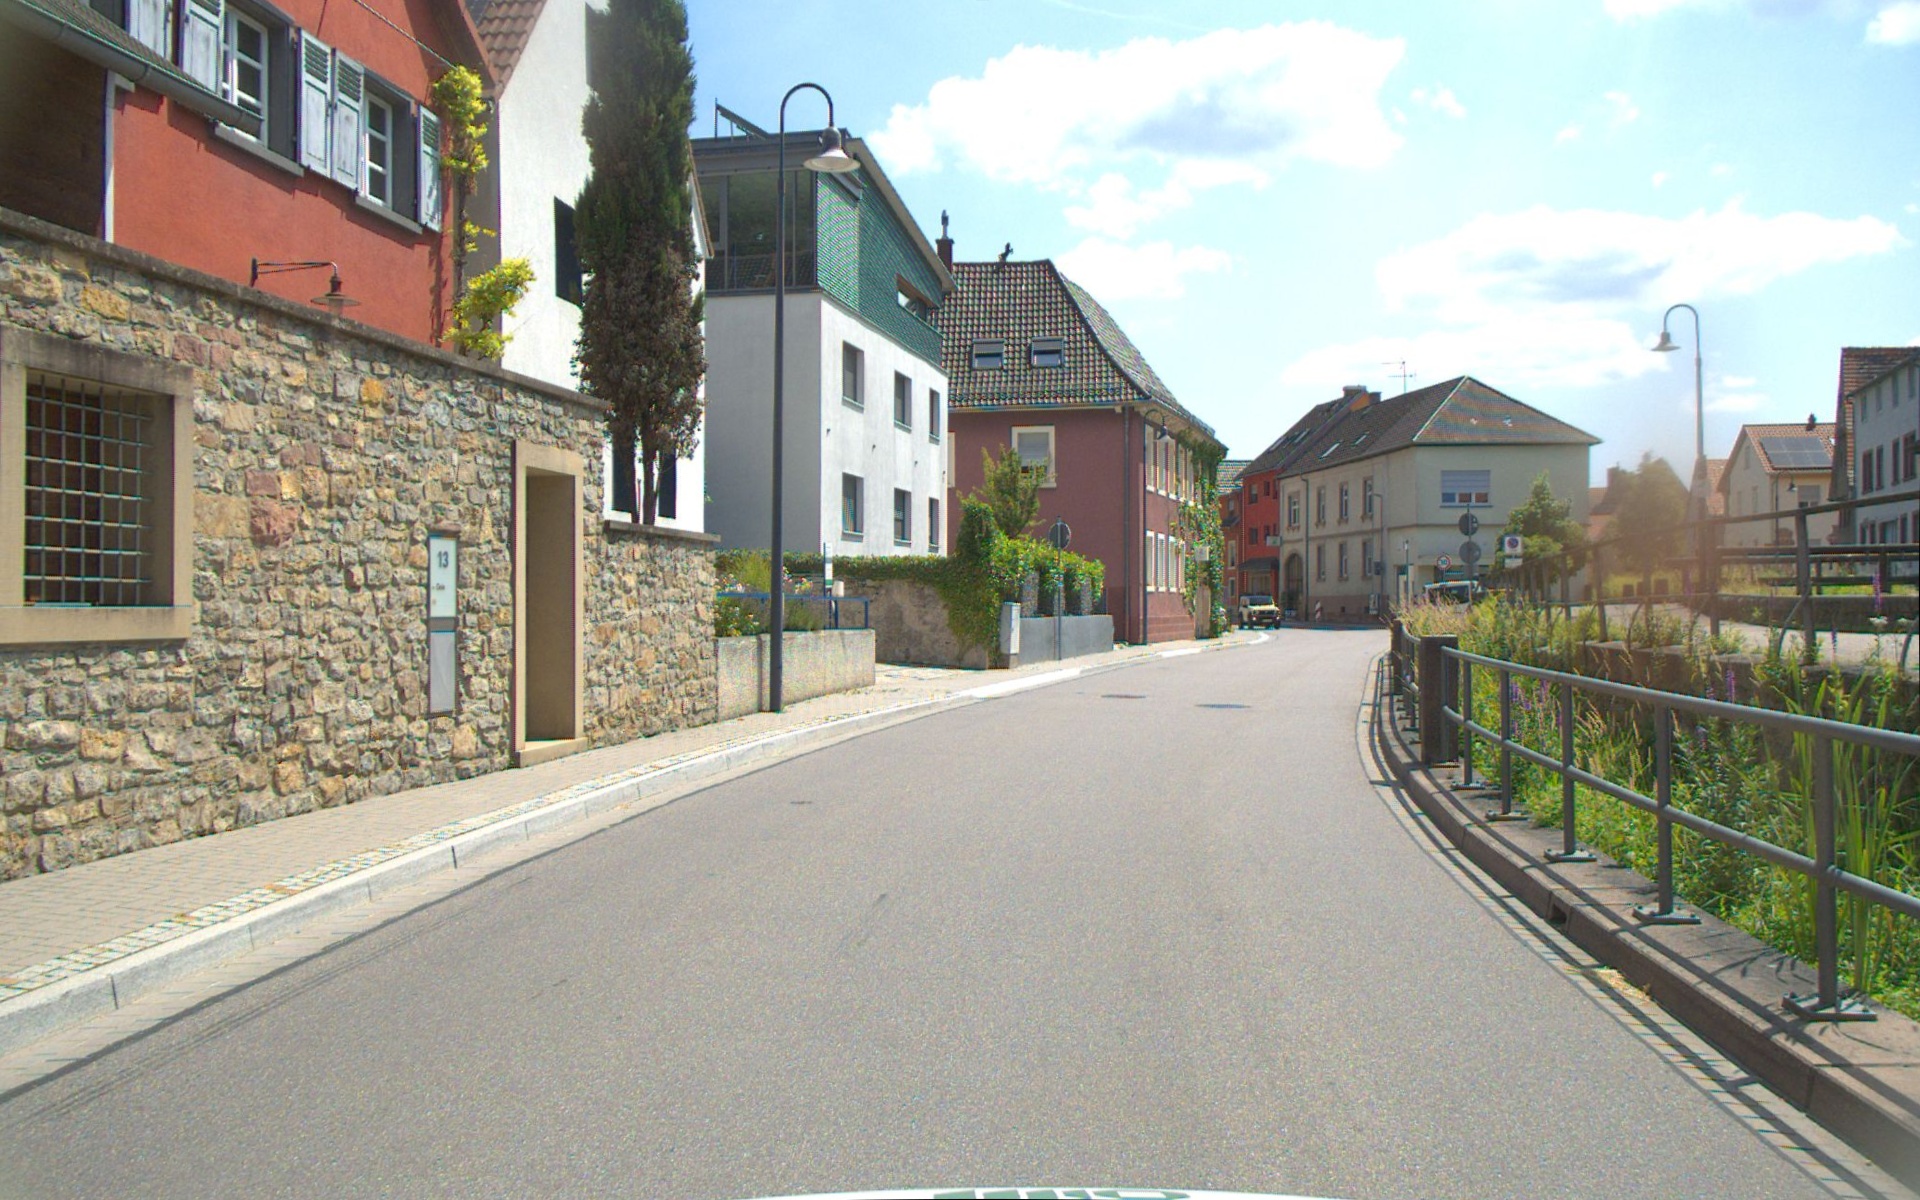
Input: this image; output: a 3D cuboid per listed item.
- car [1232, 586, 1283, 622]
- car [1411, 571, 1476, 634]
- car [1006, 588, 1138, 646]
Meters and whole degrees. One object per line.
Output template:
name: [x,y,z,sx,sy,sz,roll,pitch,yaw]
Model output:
car: [15.281,0.243,85.111,1.591,1.749,3.468,-2,-1,-7]
car: [16.563,0.089,56.552,1.858,2.015,3.114,-3,-1,20]
car: [3.297,0.472,48.552,3.491,1.430,1.653,4,1,17]
